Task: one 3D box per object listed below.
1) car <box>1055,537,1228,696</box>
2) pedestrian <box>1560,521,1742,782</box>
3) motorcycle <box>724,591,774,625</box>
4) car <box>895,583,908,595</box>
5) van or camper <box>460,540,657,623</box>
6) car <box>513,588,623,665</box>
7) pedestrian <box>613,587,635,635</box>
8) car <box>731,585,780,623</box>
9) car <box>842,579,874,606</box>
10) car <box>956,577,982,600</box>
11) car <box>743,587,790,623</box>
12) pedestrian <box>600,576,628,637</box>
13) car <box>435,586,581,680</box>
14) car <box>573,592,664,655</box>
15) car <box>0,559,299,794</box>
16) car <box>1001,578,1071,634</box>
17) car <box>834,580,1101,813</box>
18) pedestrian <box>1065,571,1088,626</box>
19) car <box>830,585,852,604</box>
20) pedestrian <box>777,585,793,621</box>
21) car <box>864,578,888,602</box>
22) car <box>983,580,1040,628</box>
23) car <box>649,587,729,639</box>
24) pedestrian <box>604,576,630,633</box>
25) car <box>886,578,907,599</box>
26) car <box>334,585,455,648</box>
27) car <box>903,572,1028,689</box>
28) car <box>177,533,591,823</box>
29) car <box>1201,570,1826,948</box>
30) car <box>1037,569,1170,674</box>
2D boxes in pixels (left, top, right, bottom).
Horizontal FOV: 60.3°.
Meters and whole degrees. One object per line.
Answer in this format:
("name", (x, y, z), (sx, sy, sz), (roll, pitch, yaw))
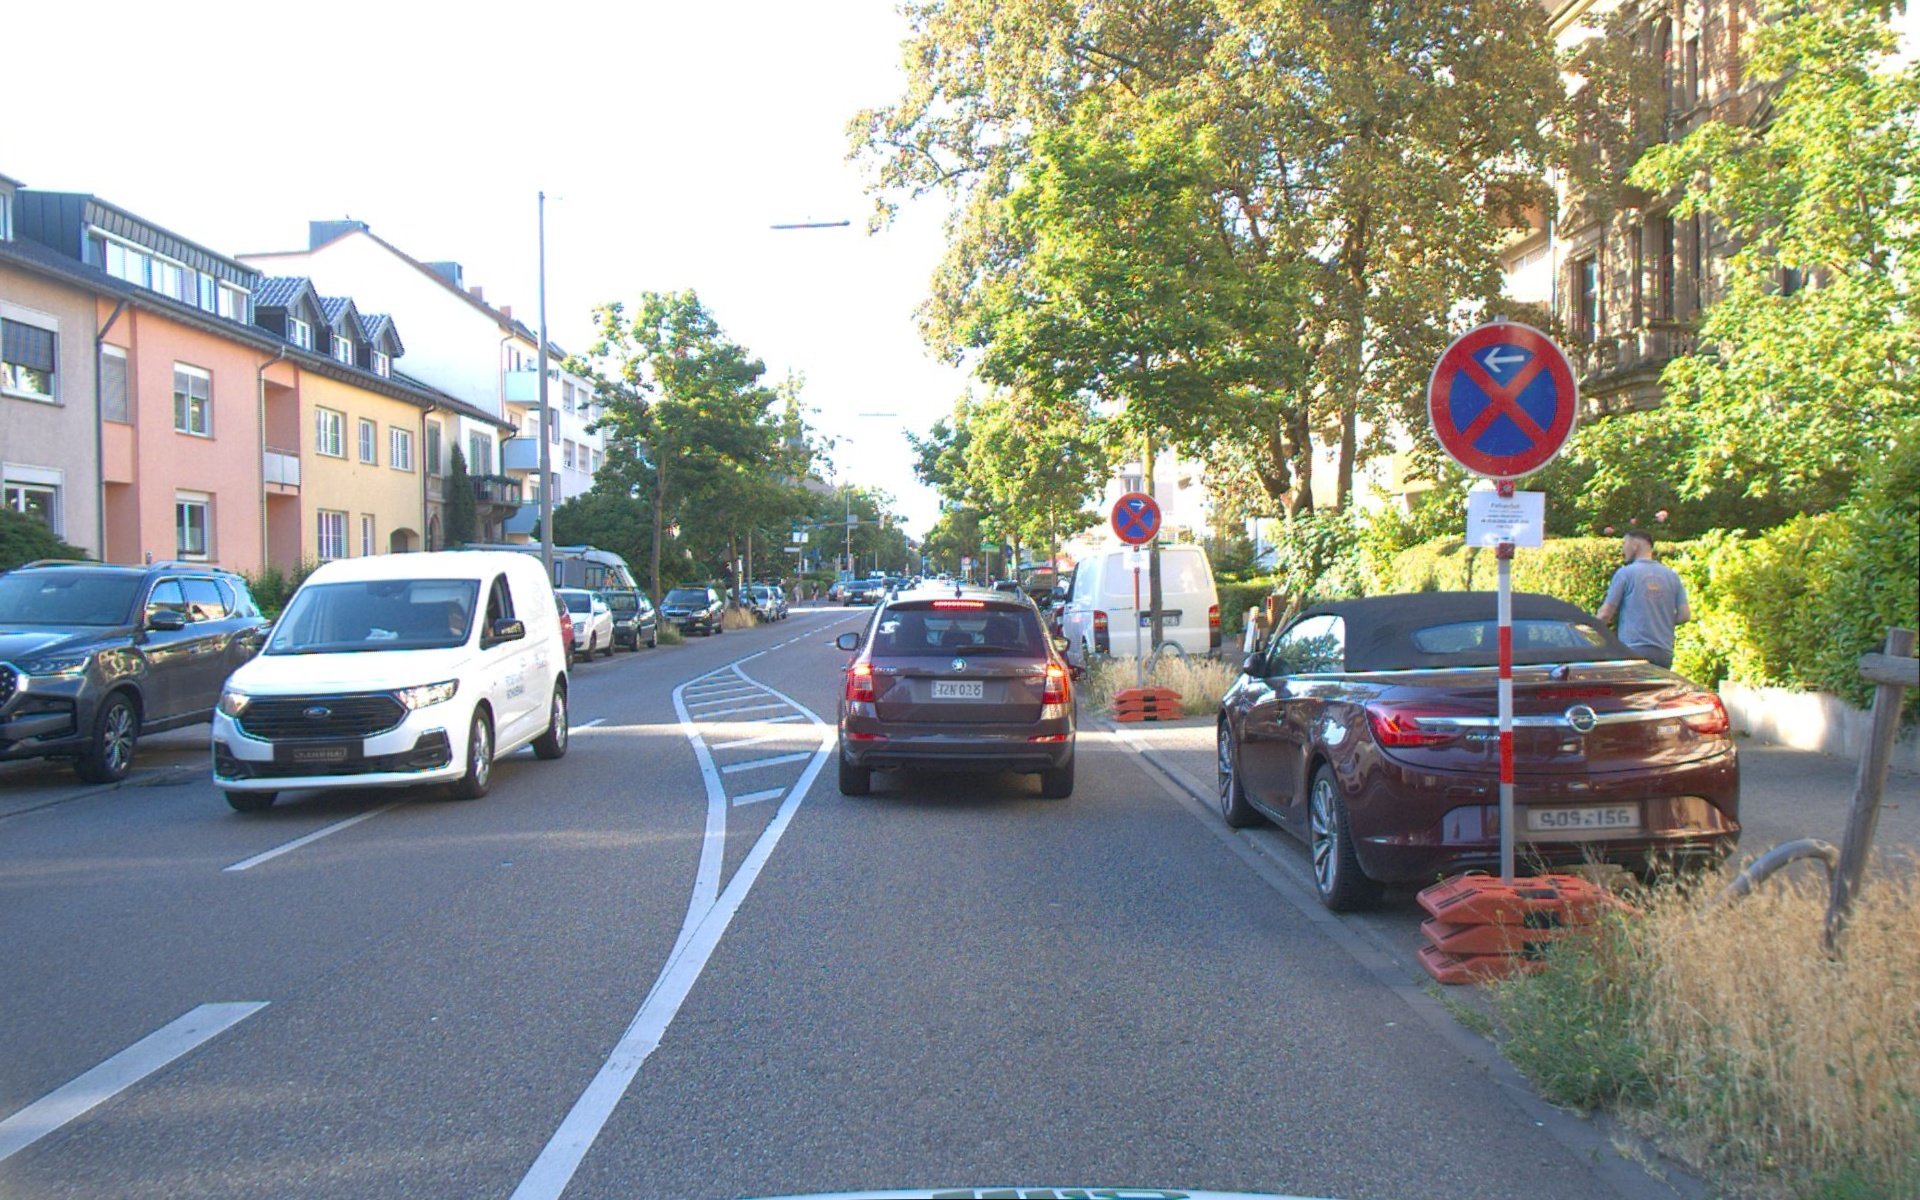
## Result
("car", (2.591, 0.202, 24.718), (1.865, 2.140, 4.638), (-1, 0, -3))
("pedestrian", (5.018, 0.352, 12.075), (0.804, 1.805, 1.088), (-1, 0, -5))
("motorcycle", (-8.335, 0.316, 65.325), (2.014, 1.287, 0.764), (-1, 0, 38))
("car", (-8.190, -1.495, 232.126), (1.793, 1.607, 3.999), (-1, 0, -1))
("van or camper", (-14.813, -0.670, 61.289), (6.661, 2.821, 2.351), (2, 0, -2))
("car", (-8.359, 0.519, 35.541), (1.561, 1.550, 3.889), (-1, 0, -2))
("pedestrian", (-10.707, 0.349, 52.697), (0.577, 1.522, 0.542), (-1, 0, 1))
("car", (-8.514, 0.153, 69.030), (1.561, 1.496, 3.803), (1, 0, -1))
("car", (-6.505, -0.494, 105.555), (1.798, 1.597, 3.999), (-3, 0, -1))
("car", (0.740, -0.952, 135.852), (1.952, 1.803, 4.001), (1, 0, 2))
("car", (-8.584, 0.202, 73.659), (1.615, 1.544, 4.073), (1, 0, -1))
("pedestrian", (-10.486, 0.196, 50.123), (0.699, 1.824, 0.506), (-1, 0, 1))
("car", (-7.956, 0.533, 29.387), (1.560, 1.550, 3.437), (-1, 0, 2))
("car", (-8.274, 0.533, 40.313), (1.512, 1.421, 3.665), (-1, 0, -1))
("car", (-7.848, 0.574, 15.128), (1.849, 1.810, 4.724), (-1, 0, -2))
("car", (2.182, 0.149, 48.414), (1.674, 1.506, 4.267), (-3, 1, -1))
("car", (0.003, 0.614, 12.979), (1.737, 1.515, 4.310), (0, 0, -1))
("pedestrian", (3.861, -0.060, 55.013), (0.649, 1.779, 0.772), (-2, 0, 0))
("car", (-9.437, -0.431, 131.393), (1.491, 1.482, 3.584), (-1, 0, -1))
("pedestrian", (-10.000, 0.171, 94.588), (0.764, 2.022, 0.821), (-1, 0, 0))
("car", (-6.688, -0.780, 132.054), (1.769, 1.836, 4.744), (-2, 0, -1))
("car", (1.861, 0.119, 60.814), (1.818, 1.609, 4.012), (-2, 1, -1))
("car", (-8.502, 0.374, 52.216), (1.829, 1.520, 4.517), (1, 0, -1))
("pedestrian", (-11.090, 0.147, 53.482), (0.699, 1.824, 0.572), (-1, 0, 1))
("car", (-6.396, -1.157, 166.012), (1.953, 1.942, 4.963), (-3, 1, -1))
("car", (-13.922, 0.374, 40.913), (1.630, 1.433, 3.753), (-2, 1, 0))
("car", (0.039, 0.408, 25.025), (1.701, 1.598, 3.999), (1, 0, -1))
("car", (-4.312, 0.495, 13.197), (1.850, 1.835, 4.429), (-3, 1, -3))
("car", (2.596, 0.624, 9.043), (1.722, 1.444, 4.614), (-3, 1, -1))
("car", (2.470, 0.331, 29.409), (1.818, 1.631, 4.310), (-3, 1, -1))
